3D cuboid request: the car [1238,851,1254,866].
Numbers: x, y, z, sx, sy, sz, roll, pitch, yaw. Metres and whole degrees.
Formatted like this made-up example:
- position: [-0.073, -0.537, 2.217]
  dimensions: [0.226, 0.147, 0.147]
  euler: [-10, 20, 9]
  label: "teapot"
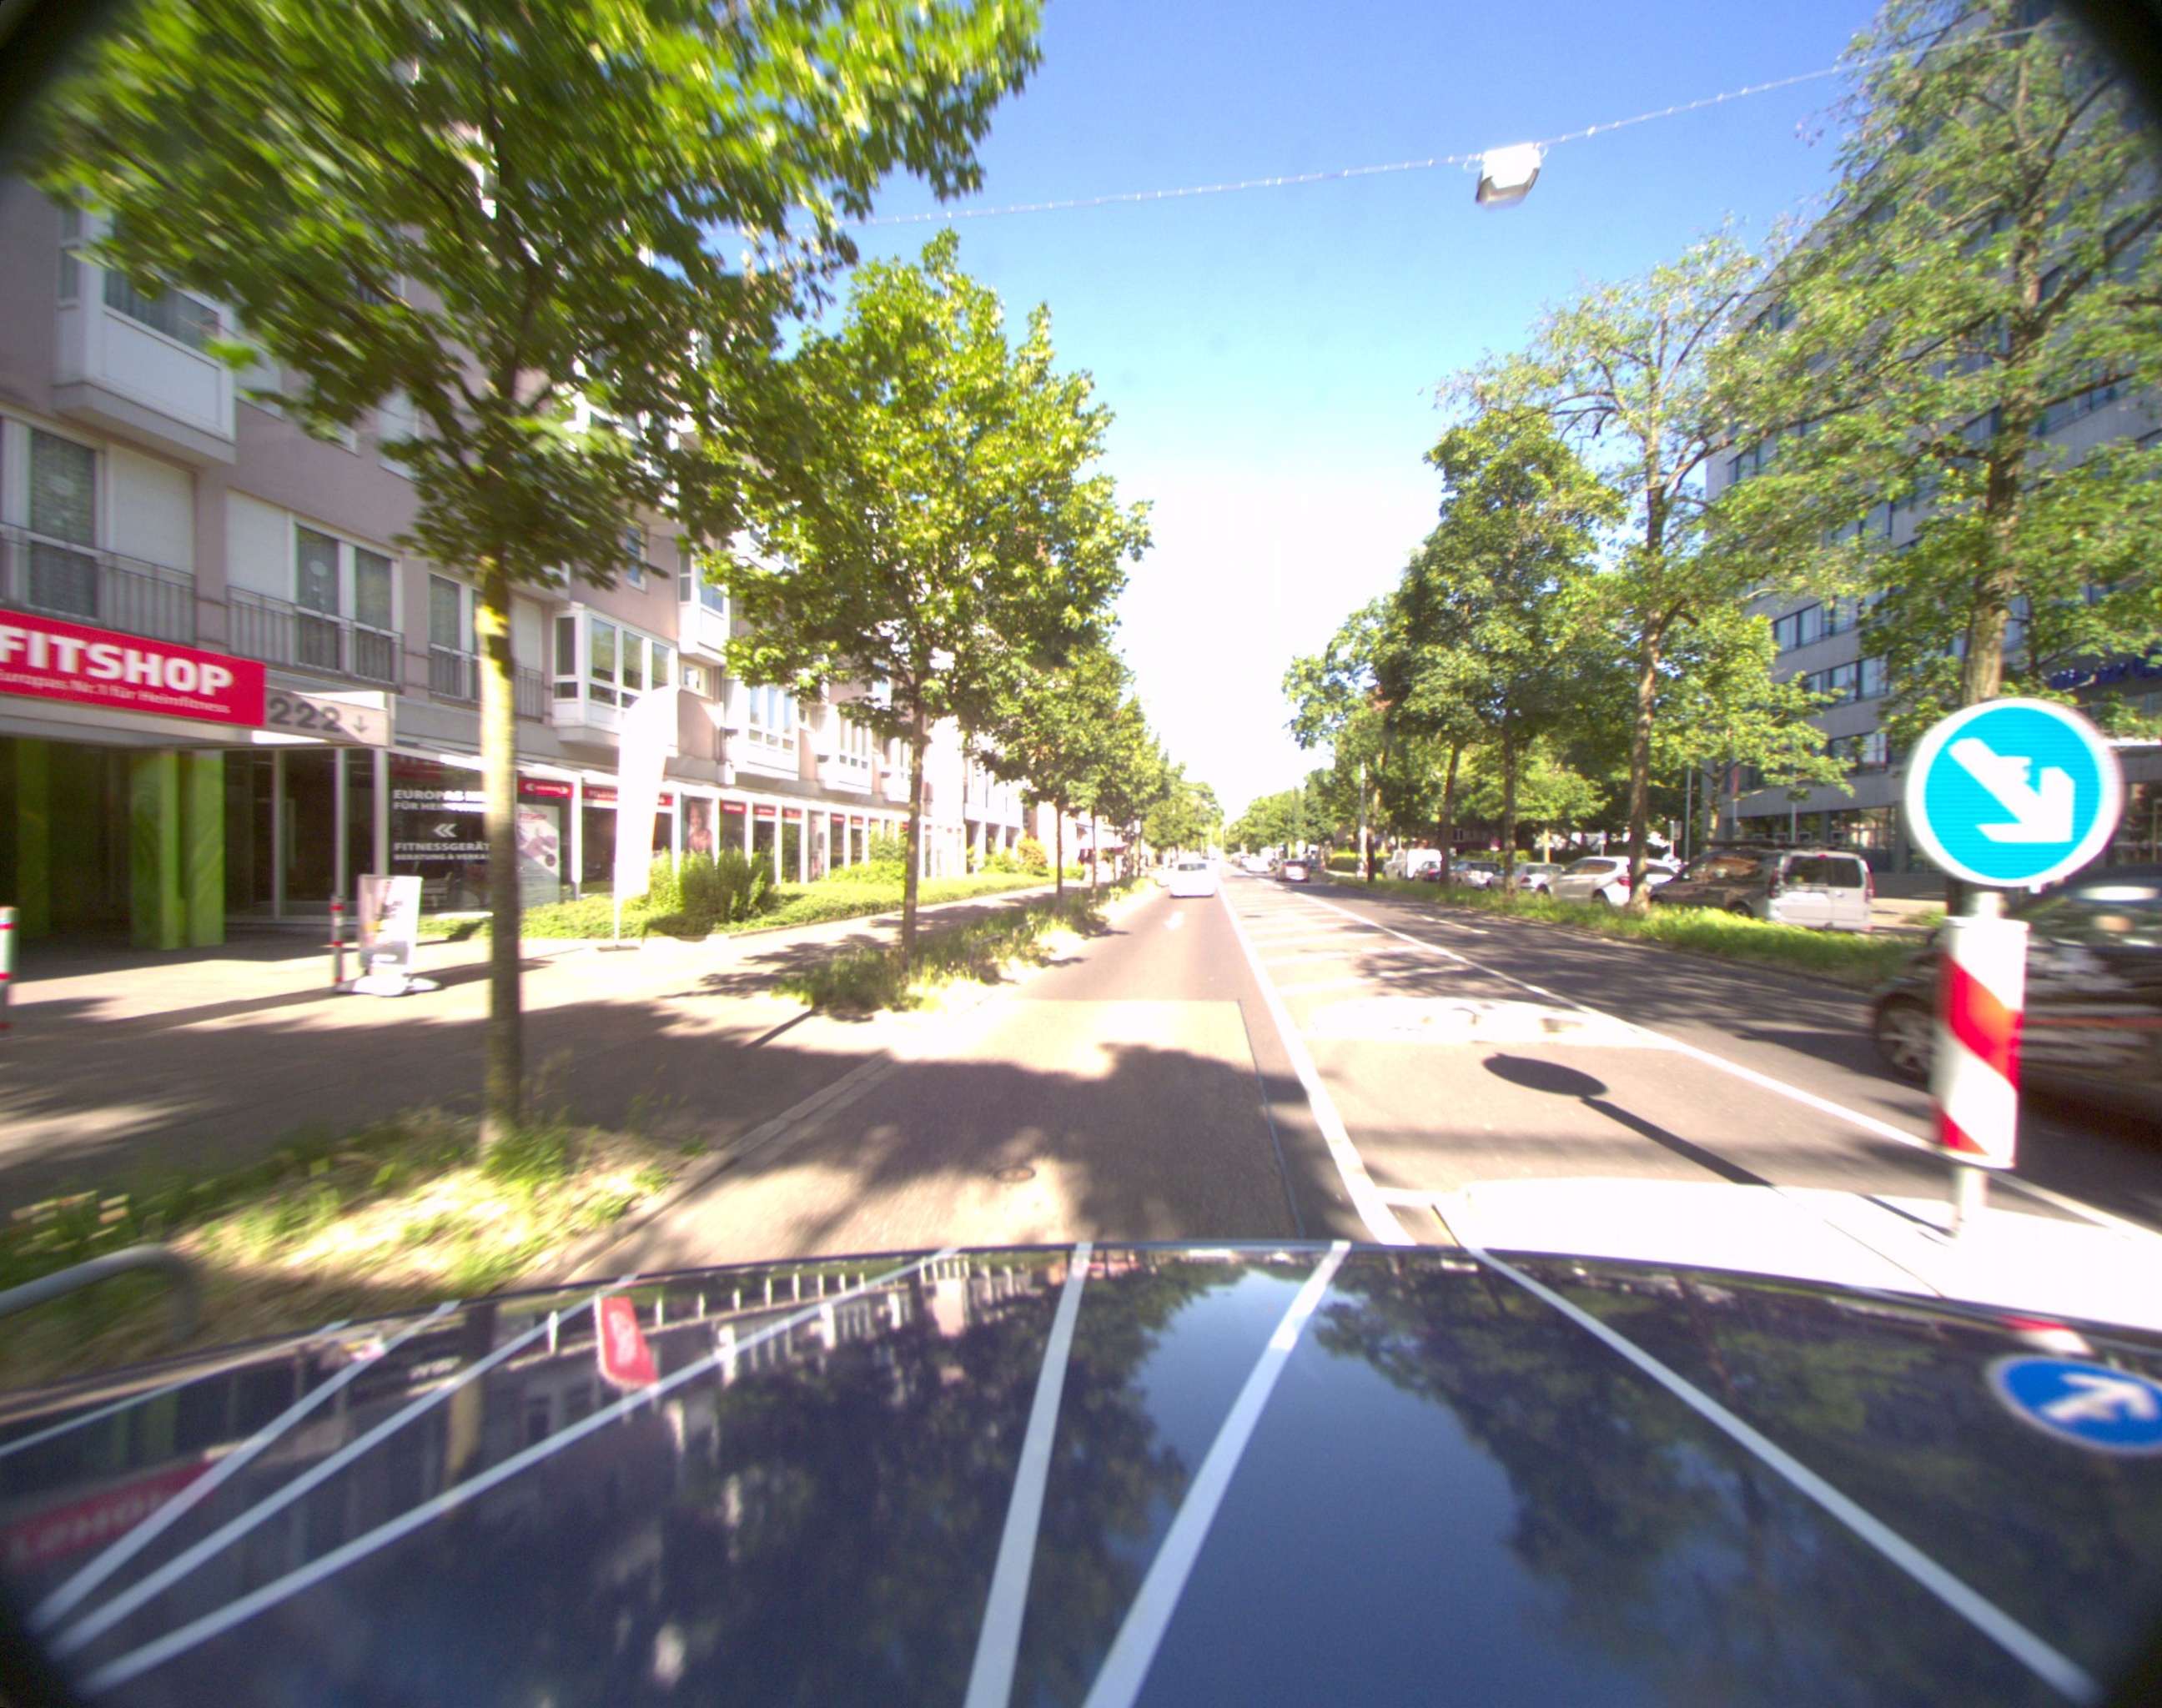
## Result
- position: [23.353, 0.606, 107.561]
  dimensions: [2.167, 2.002, 4.414]
  euler: [0, 0, 11]
  label: "car"
